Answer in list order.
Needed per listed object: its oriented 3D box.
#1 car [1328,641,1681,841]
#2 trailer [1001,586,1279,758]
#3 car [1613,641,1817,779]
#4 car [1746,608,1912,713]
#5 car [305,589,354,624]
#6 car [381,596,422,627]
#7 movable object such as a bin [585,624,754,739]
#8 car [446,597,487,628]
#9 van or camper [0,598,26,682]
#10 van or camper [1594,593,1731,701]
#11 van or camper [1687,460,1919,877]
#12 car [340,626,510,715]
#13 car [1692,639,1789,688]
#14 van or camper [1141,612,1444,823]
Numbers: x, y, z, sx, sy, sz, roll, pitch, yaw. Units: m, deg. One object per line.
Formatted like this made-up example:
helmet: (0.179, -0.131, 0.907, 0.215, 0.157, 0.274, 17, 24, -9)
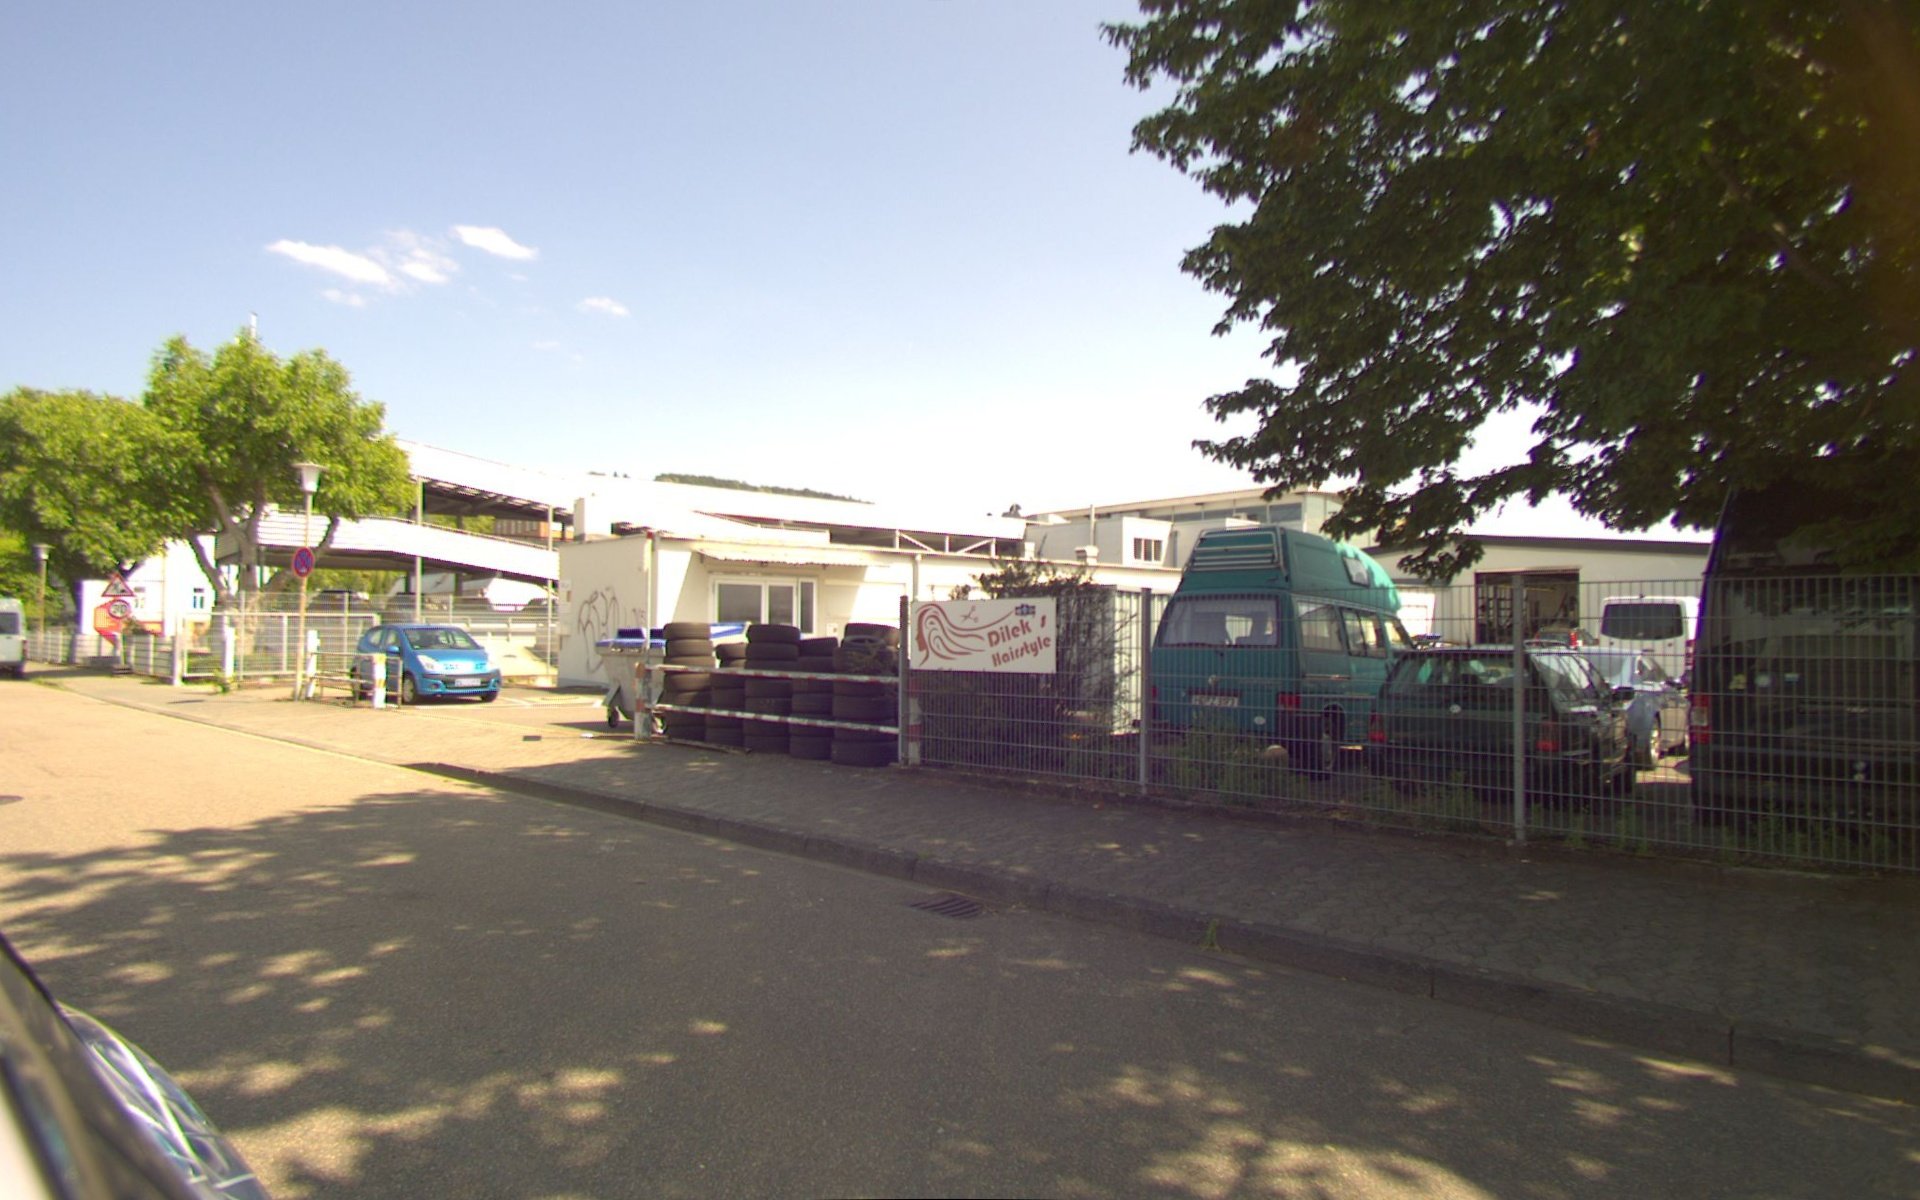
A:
car: (5.079, 1.089, 9.202, 1.860, 1.397, 3.871, -2, -3, 44)
trailer: (2.865, 0.898, 15.246, 1.999, 2.171, 4.721, -1, 0, 41)
car: (9.161, 1.202, 12.270, 1.730, 1.389, 3.589, -1, -3, 38)
car: (18.825, 1.266, 21.868, 4.508, 2.029, 2.061, 3, -3, -41)
car: (-29.314, 0.336, 47.130, 1.680, 1.469, 3.536, 2, -3, -28)
car: (-27.151, 0.538, 49.214, 1.680, 1.469, 3.536, -1, 0, -28)
movable object such as a bin: (-3.971, 1.037, 13.751, 1.364, 1.368, 2.105, -1, 0, -44)
car: (-24.971, 0.610, 51.144, 1.680, 1.469, 3.536, -1, 0, -28)
van or camper: (-29.587, 1.150, 30.089, 4.682, 2.395, 2.003, -1, -3, 40)
van or camper: (16.693, 1.069, 23.954, 4.533, 2.323, 1.783, 2, -2, -44)
van or camper: (7.328, 0.501, 8.200, 1.845, 2.596, 4.605, -1, -2, 42)
car: (-10.223, 1.264, 19.254, 3.521, 1.469, 1.624, -1, 0, 39)
car: (24.578, 1.965, 31.843, 3.525, 1.433, 1.712, 3, -3, -41)
van or camper: (3.945, 1.120, 11.580, 1.774, 1.877, 4.138, -1, 0, 42)
